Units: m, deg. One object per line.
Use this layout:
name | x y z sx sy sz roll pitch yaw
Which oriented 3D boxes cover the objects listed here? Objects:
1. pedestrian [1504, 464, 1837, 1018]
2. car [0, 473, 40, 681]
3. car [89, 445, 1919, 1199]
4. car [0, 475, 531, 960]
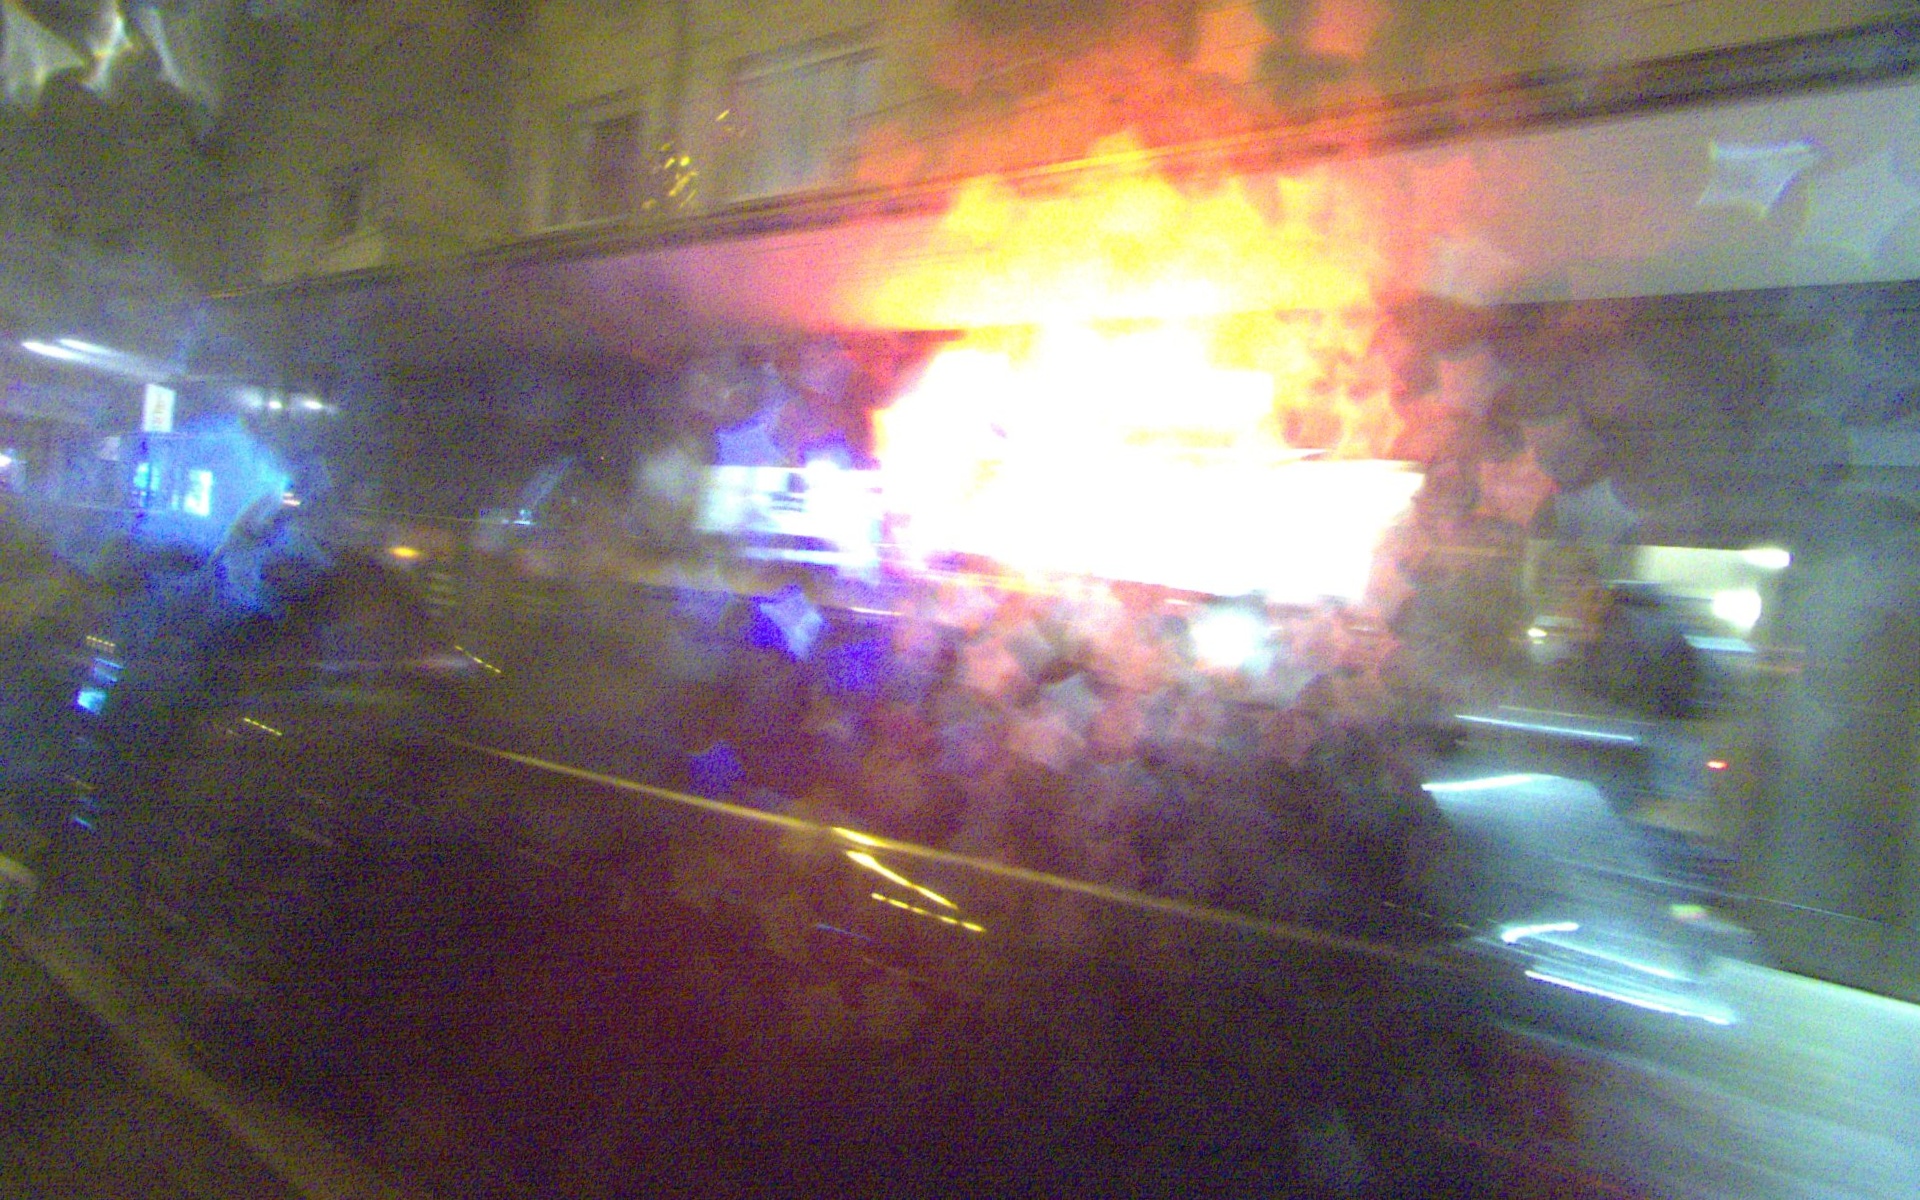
pedestrian | 3.278 0.569 4.758 0.954 2.237 1.054 7 2 33
car | -9.549 -0.412 8.319 3.924 1.627 1.756 6 -2 32
car | -0.350 0.578 2.697 4.086 1.584 1.756 6 -2 32
car | -4.379 0.280 5.118 4.326 1.556 1.756 6 -2 32
